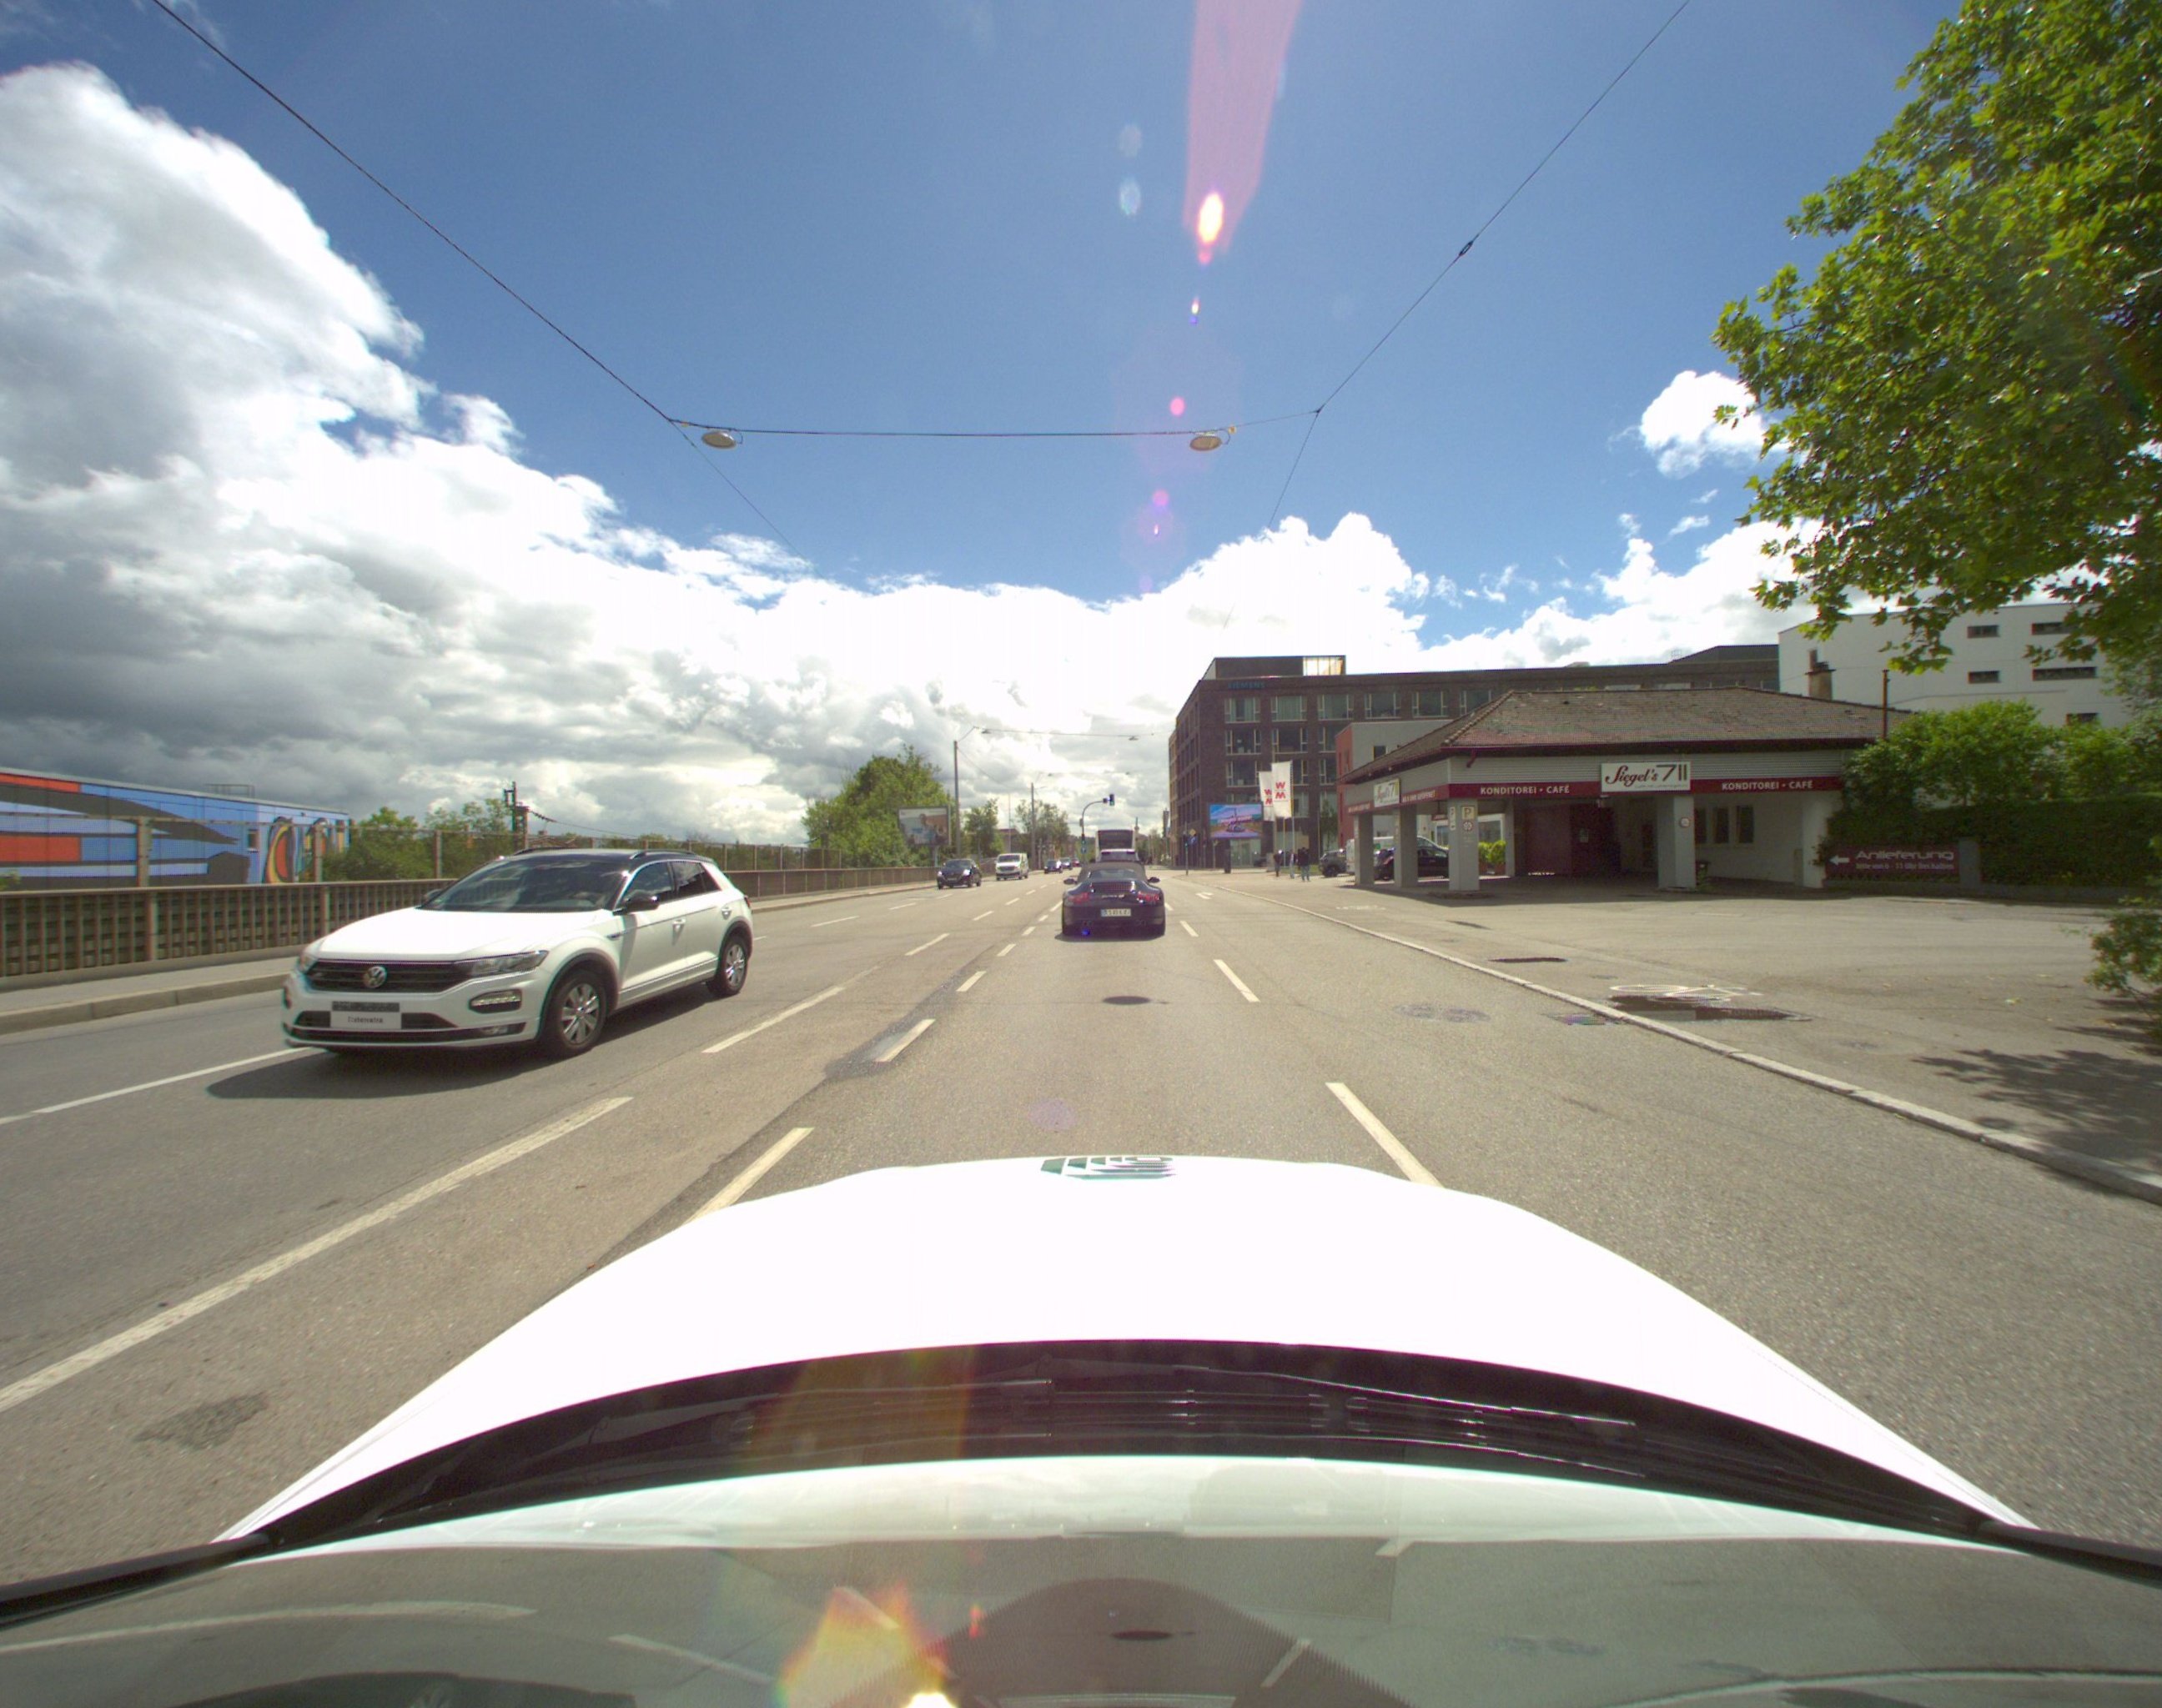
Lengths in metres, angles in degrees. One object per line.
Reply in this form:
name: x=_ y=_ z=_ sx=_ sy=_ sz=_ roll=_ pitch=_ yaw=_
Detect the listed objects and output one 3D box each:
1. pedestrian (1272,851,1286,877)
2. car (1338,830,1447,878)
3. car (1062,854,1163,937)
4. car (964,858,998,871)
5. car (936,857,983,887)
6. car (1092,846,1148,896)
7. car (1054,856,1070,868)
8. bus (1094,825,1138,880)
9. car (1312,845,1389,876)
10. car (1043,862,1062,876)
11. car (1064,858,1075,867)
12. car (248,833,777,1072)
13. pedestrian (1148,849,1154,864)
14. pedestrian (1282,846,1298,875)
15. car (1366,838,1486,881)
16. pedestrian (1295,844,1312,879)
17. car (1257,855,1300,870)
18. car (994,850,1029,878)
pedestrian: x=12.848 y=0.629 z=52.913 sx=0.668 sy=1.661 sz=0.742 roll=-1 pitch=-1 yaw=1
car: x=14.401 y=0.019 z=37.863 sx=4.213 sy=1.936 sz=2.031 roll=-4 pitch=-1 yaw=3
car: x=0.606 y=0.709 z=15.809 sx=1.713 sy=1.275 sz=4.090 roll=0 pitch=2 yaw=2
car: x=-10.553 y=1.084 z=86.158 sx=3.509 sy=1.264 sz=1.386 roll=-1 pitch=-1 yaw=-8
car: x=-6.119 y=0.893 z=41.481 sx=1.622 sy=1.430 sz=4.002 roll=-1 pitch=0 yaw=2
car: x=1.353 y=0.555 z=29.889 sx=1.873 sy=1.594 sz=4.230 roll=0 pitch=2 yaw=0
car: x=-2.431 y=1.029 z=105.175 sx=1.656 sy=1.547 sz=3.805 roll=-1 pitch=-1 yaw=3
bus: x=2.499 y=-0.327 z=57.011 sx=2.678 sy=3.254 sz=12.070 roll=0 pitch=3 yaw=3
car: x=15.128 y=0.370 z=45.857 sx=3.744 sy=1.440 sz=1.720 roll=-5 pitch=-1 yaw=3
car: x=-2.992 y=1.575 z=85.869 sx=1.656 sy=1.416 sz=3.805 roll=-1 pitch=-1 yaw=3
car: x=-1.935 y=1.448 z=141.294 sx=1.656 sy=1.416 sz=3.805 roll=-1 pitch=-1 yaw=3
car: x=-4.527 y=0.655 z=7.459 sx=1.803 sy=1.560 sz=4.208 roll=0 pitch=0 yaw=1
pedestrian: x=9.111 y=0.343 z=105.917 sx=0.664 sy=2.014 sz=0.769 roll=-1 pitch=-1 yaw=0
pedestrian: x=12.424 y=0.382 z=48.437 sx=0.705 sy=1.696 sz=0.924 roll=-1 pitch=0 yaw=-1
car: x=14.645 y=0.266 z=34.738 sx=4.283 sy=1.513 sz=1.847 roll=-4 pitch=-1 yaw=2
pedestrian: x=10.851 y=0.381 z=39.770 sx=0.673 sy=1.696 sz=0.602 roll=-1 pitch=-1 yaw=27
car: x=19.553 y=0.820 z=80.721 sx=3.914 sy=1.431 sz=1.474 roll=-1 pitch=-1 yaw=2
car: x=-5.135 y=0.718 z=60.732 sx=1.894 sy=1.887 sz=5.315 roll=-3 pitch=-1 yaw=2
